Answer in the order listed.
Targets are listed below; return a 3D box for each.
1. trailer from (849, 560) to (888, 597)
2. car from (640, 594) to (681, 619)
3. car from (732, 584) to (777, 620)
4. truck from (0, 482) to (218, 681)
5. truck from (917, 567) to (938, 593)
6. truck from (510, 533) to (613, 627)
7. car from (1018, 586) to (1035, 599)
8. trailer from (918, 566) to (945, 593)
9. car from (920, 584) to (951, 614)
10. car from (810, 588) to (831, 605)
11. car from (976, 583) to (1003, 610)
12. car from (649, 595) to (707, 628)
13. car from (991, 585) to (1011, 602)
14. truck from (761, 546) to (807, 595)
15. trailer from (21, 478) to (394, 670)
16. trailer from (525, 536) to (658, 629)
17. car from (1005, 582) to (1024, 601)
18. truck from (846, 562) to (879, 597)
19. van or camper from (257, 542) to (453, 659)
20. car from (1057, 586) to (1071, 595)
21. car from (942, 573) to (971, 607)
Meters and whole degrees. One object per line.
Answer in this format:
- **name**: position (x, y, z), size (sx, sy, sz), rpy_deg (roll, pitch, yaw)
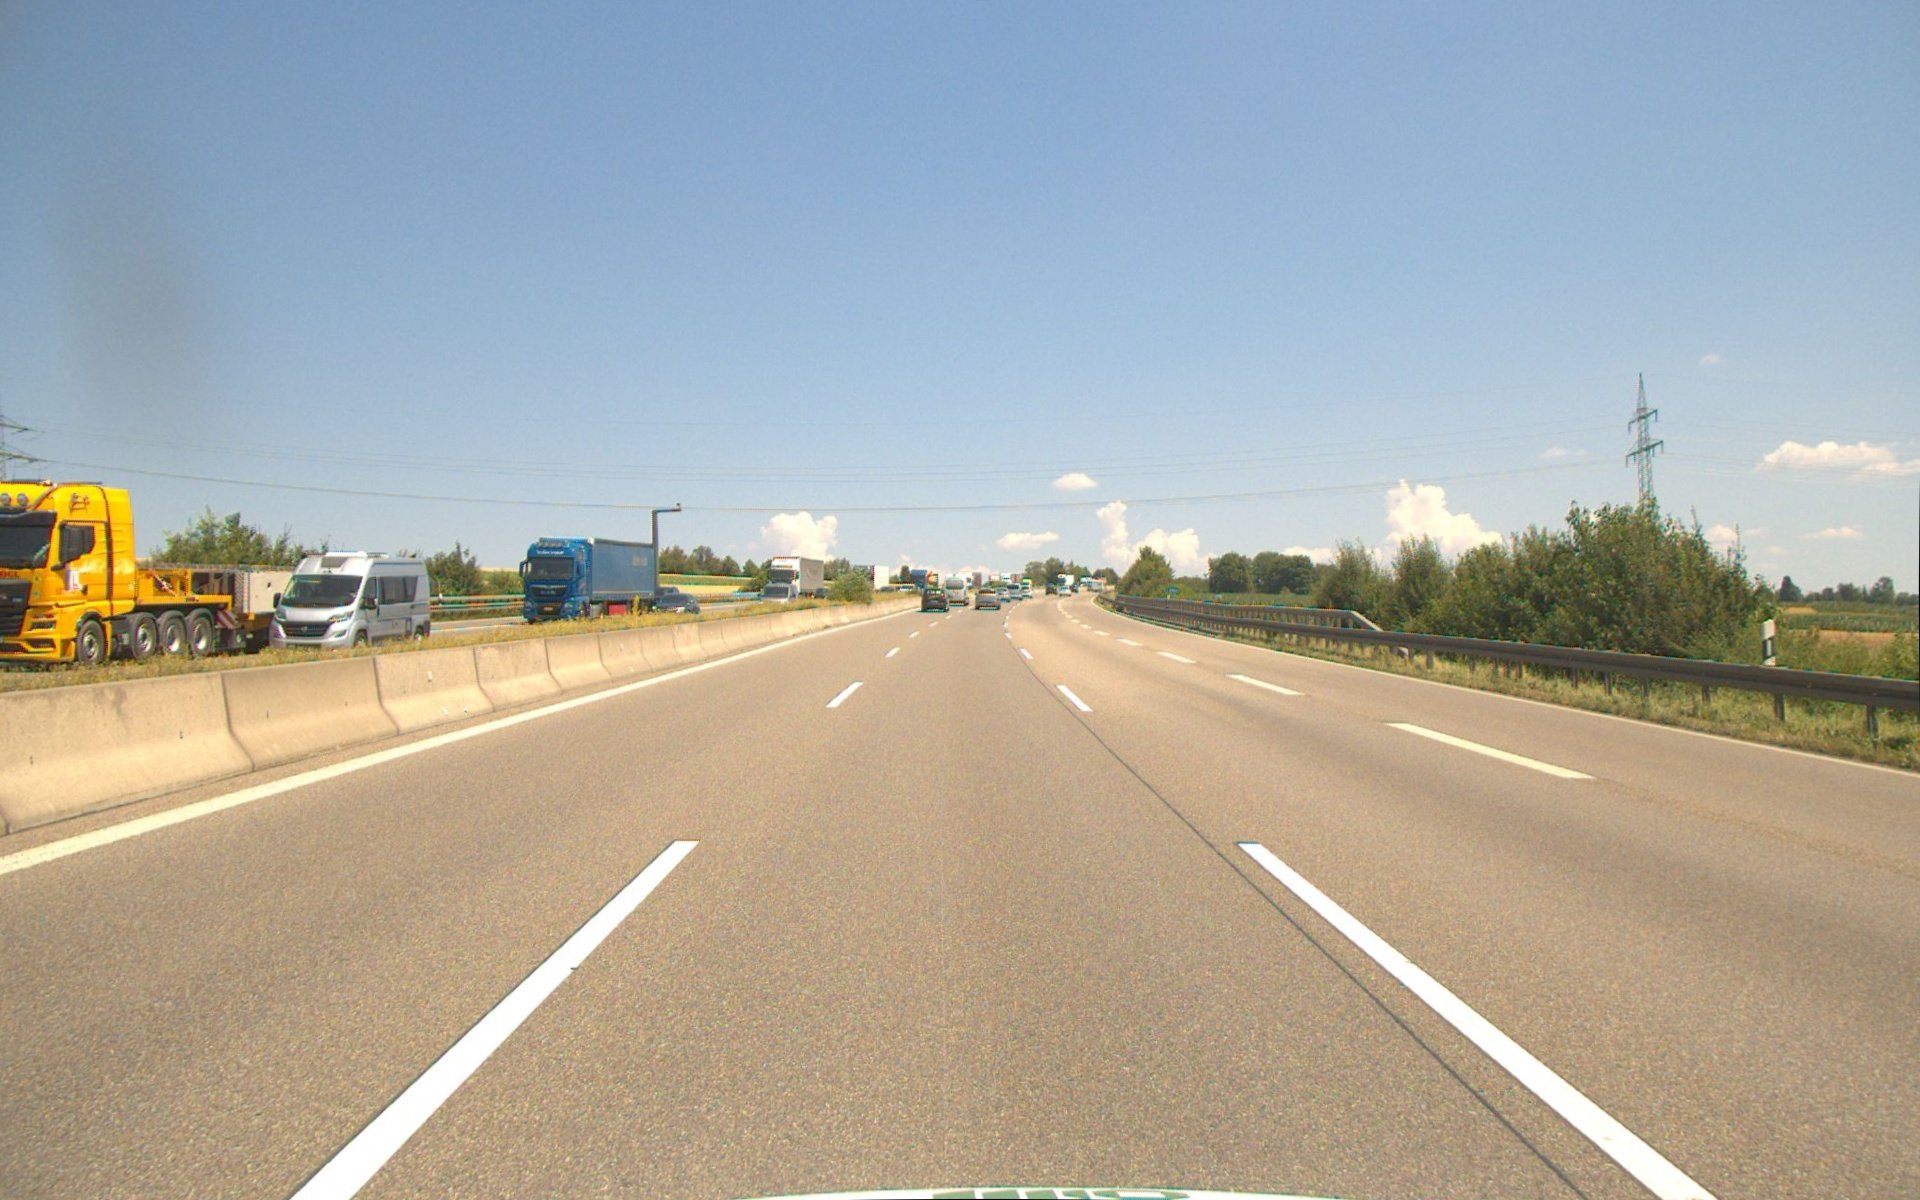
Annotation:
- **trailer**: position (-11.535, -2.708, 210.116), size (3.174, 4.464, 14.035), rpy_deg (0, 0, 4)
- **car**: position (-18.404, 0.382, 101.807), size (1.623, 1.409, 4.351), rpy_deg (1, 1, 1)
- **car**: position (-11.732, 0.113, 94.623), size (1.874, 2.004, 5.447), rpy_deg (1, 0, 0)
- **truck**: position (-19.212, -0.411, 36.097), size (2.694, 3.904, 7.099), rpy_deg (1, 0, 1)
- **truck**: position (-5.044, -3.153, 256.241), size (2.717, 4.006, 6.141), rpy_deg (0, 0, 4)
- **truck**: position (-18.617, -0.900, 77.702), size (3.012, 4.161, 6.936), rpy_deg (1, 0, 1)
- **car**: position (8.743, -1.012, 217.147), size (1.952, 1.579, 4.002), rpy_deg (2, 1, 4)
- **trailer**: position (-4.509, -3.201, 262.550), size (2.779, 4.027, 13.736), rpy_deg (0, 0, 5)
- **car**: position (-1.665, -0.078, 112.104), size (1.809, 1.893, 4.207), rpy_deg (0, 1, 3)
- **car**: position (-12.087, -0.321, 143.775), size (1.591, 1.428, 3.729), rpy_deg (1, 1, -1)
- **car**: position (2.207, -0.256, 123.386), size (1.952, 1.781, 4.000), rpy_deg (1, -2, 1)
- **car**: position (-14.060, 0.537, 82.772), size (1.874, 1.568, 5.742), rpy_deg (1, 0, 0)
- **car**: position (4.149, -0.657, 167.664), size (1.953, 1.613, 3.999), rpy_deg (0, -1, 0)
- **truck**: position (-15.925, -2.638, 150.151), size (3.066, 4.403, 6.150), rpy_deg (0, 0, 3)
- **trailer**: position (-18.917, -0.631, 43.340), size (2.891, 4.172, 14.384), rpy_deg (1, 0, 1)
- **trailer**: position (-18.436, -0.840, 84.112), size (3.096, 4.267, 14.383), rpy_deg (1, 0, 2)
- **car**: position (6.116, -0.929, 185.668), size (1.953, 1.937, 3.999), rpy_deg (0, -2, -1)
- **truck**: position (-11.942, -2.507, 203.307), size (3.158, 4.280, 7.130), rpy_deg (0, 1, 4)
- **van or camper**: position (-14.779, 0.018, 40.988), size (2.264, 2.632, 7.142), rpy_deg (1, 0, -1)
- **car**: position (15.761, -1.437, 250.002), size (1.861, 1.467, 4.003), rpy_deg (0, 1, 6)
- **car**: position (-0.297, -0.795, 140.561), size (2.134, 2.671, 4.673), rpy_deg (0, -2, 3)
